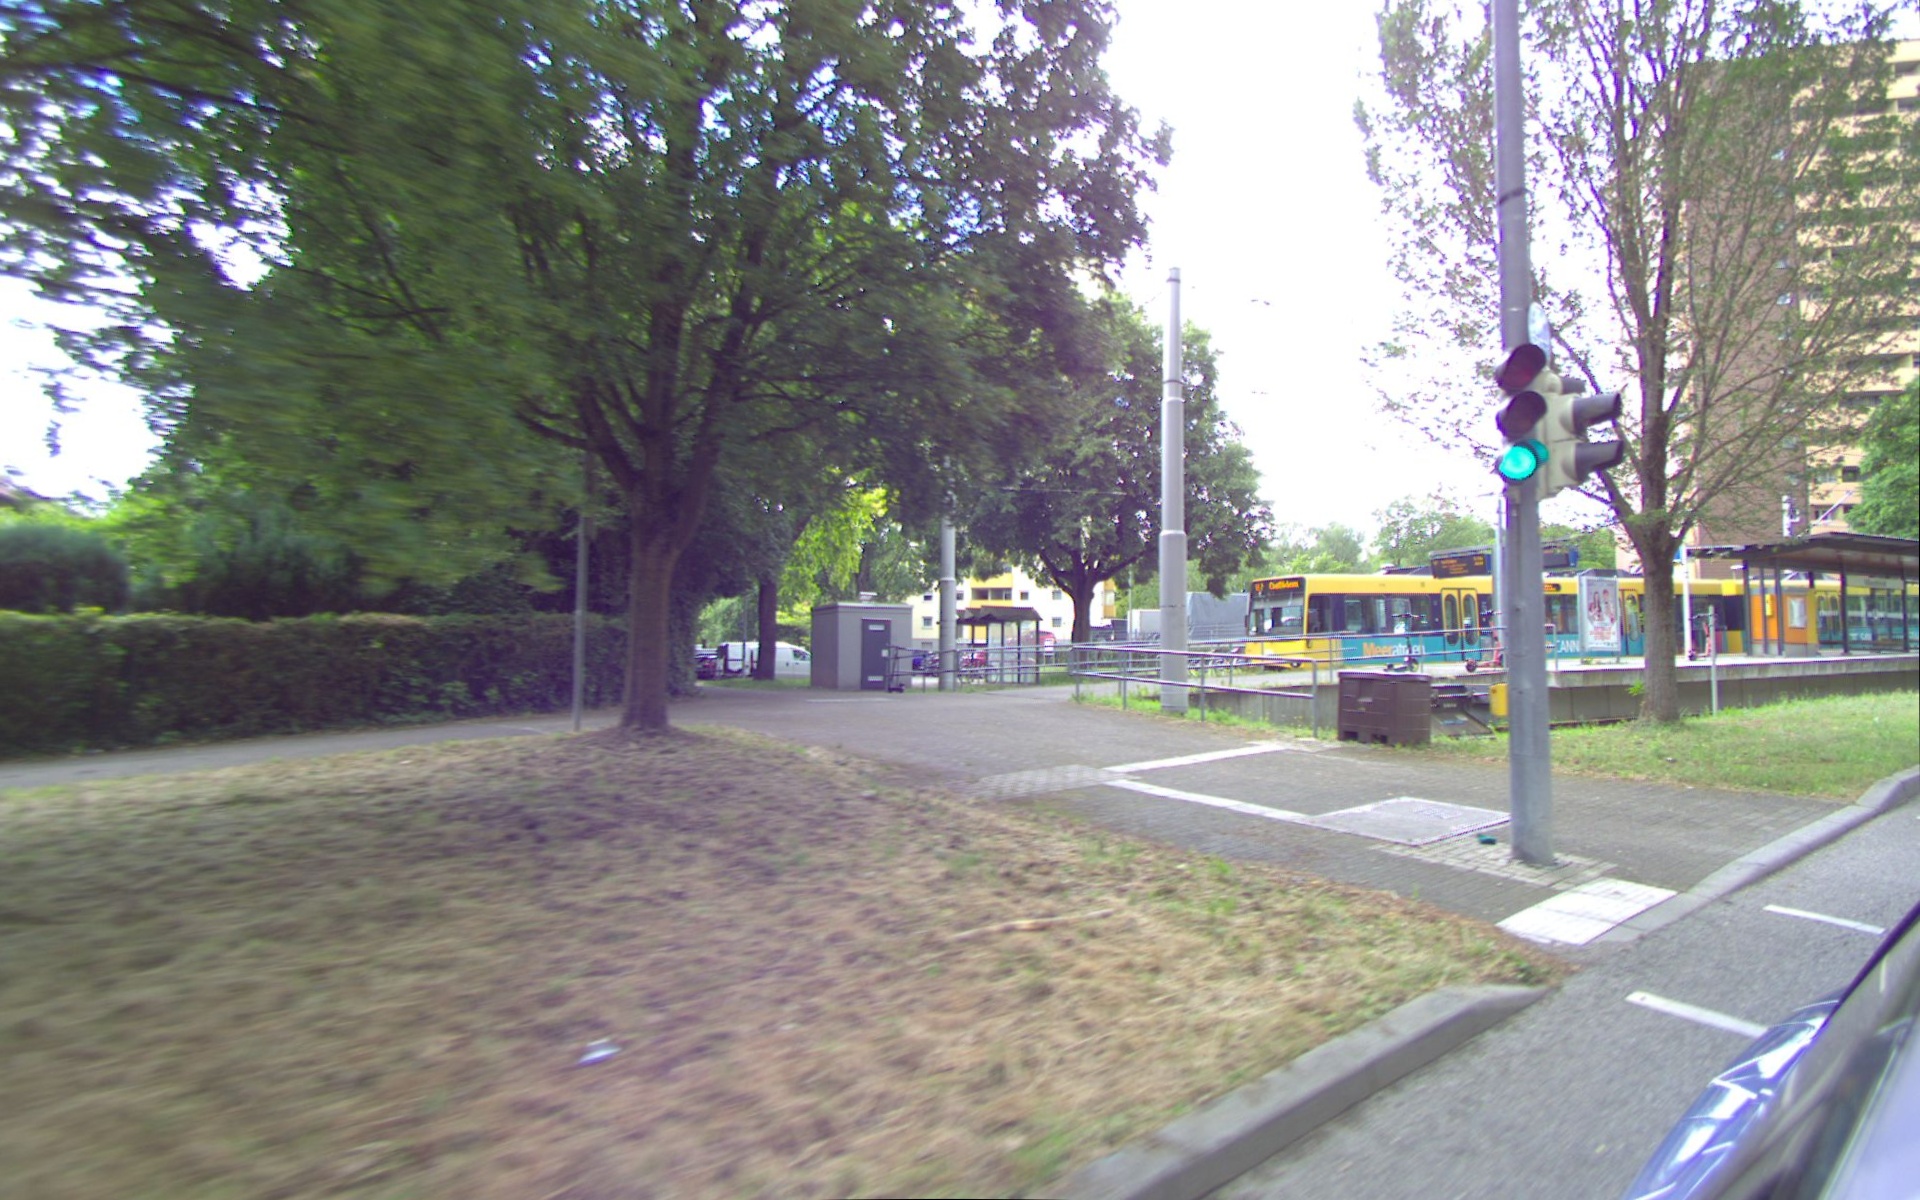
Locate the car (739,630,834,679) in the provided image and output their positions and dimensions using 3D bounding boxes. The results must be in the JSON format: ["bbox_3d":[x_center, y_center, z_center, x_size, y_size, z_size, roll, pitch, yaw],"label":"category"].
[{"bbox_3d":[-7.903,2.455,46.066,3.916,2.039,1.908,0,-1,-22],"label":"car"}]

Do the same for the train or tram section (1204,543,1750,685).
[{"bbox_3d":[16.291,0.433,30.733,19.105,3.636,2.826,0,-4,-22],"label":"train or tram section"}]

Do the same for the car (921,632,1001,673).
[{"bbox_3d":[0.042,2.821,55.025,3.916,2.039,1.908,0,-1,-22],"label":"car"}]

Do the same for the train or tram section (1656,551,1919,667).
[{"bbox_3d":[34.074,0.373,38.035,19.105,3.787,2.826,0,-4,-22],"label":"train or tram section"}]

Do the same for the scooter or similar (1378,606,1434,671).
[{"bbox_3d":[9.239,0.787,20.947,1.231,1.269,0.431,-2,-1,-35],"label":"scooter or similar"}]

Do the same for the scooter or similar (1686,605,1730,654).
[{"bbox_3d":[19.857,0.781,26.866,1.122,1.258,0.370,0,-3,-23],"label":"scooter or similar"}]

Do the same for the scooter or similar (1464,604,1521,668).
[{"bbox_3d":[11.118,0.736,21.140,1.230,1.269,0.431,-2,-1,-32],"label":"scooter or similar"}]

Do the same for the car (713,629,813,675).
[{"bbox_3d":[-9.395,2.442,48.226,4.359,2.039,1.908,0,-1,-22],"label":"car"}]

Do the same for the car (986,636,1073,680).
[{"bbox_3d":[3.498,2.870,50.909,3.916,2.039,1.908,0,-1,-22],"label":"car"}]

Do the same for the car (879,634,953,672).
[{"bbox_3d":[-2.588,3.063,59.285,3.916,2.039,1.908,0,-1,-22],"label":"car"}]

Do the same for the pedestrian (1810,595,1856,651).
[{"bbox_3d":[25.093,0.664,29.096,0.652,1.593,0.625,-1,-2,-5],"label":"pedestrian"}]
